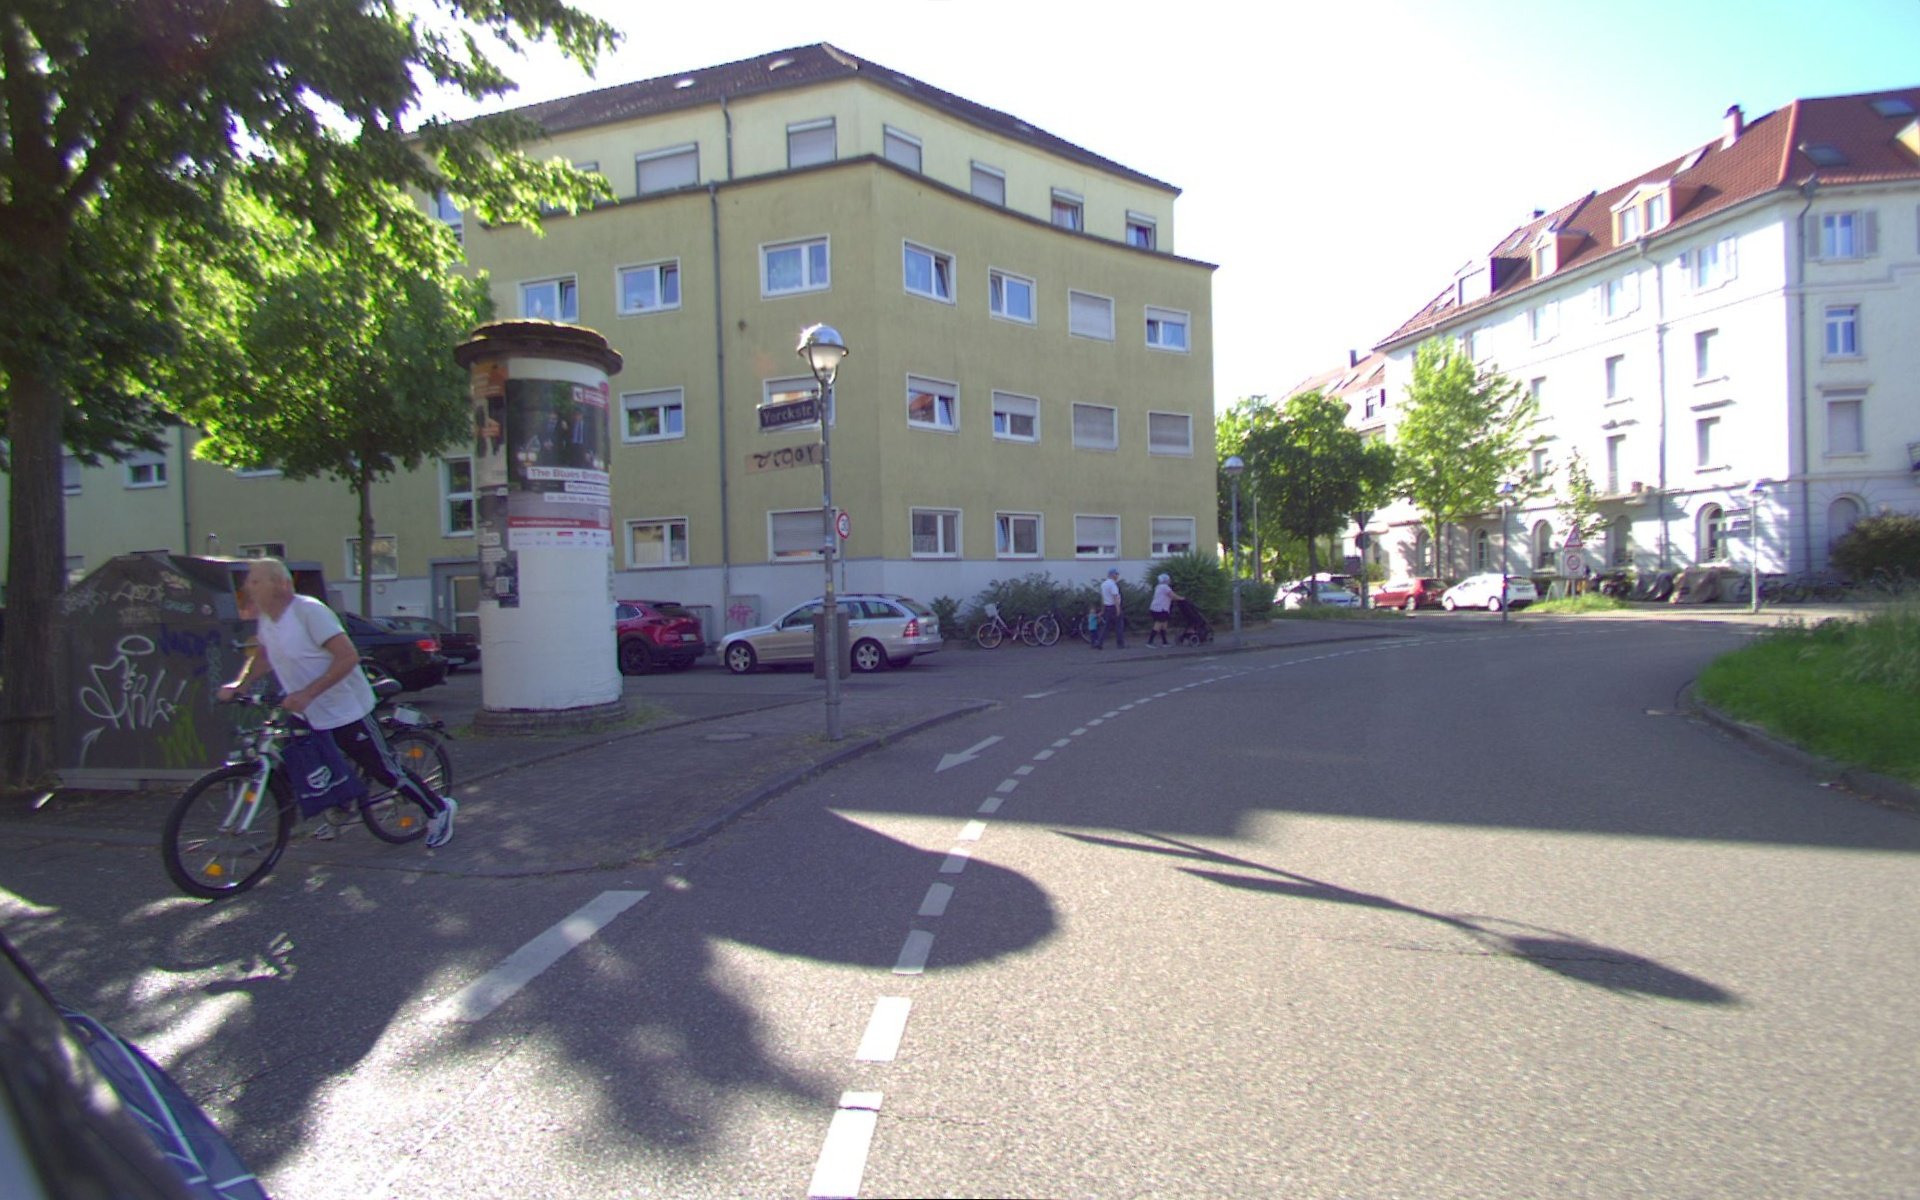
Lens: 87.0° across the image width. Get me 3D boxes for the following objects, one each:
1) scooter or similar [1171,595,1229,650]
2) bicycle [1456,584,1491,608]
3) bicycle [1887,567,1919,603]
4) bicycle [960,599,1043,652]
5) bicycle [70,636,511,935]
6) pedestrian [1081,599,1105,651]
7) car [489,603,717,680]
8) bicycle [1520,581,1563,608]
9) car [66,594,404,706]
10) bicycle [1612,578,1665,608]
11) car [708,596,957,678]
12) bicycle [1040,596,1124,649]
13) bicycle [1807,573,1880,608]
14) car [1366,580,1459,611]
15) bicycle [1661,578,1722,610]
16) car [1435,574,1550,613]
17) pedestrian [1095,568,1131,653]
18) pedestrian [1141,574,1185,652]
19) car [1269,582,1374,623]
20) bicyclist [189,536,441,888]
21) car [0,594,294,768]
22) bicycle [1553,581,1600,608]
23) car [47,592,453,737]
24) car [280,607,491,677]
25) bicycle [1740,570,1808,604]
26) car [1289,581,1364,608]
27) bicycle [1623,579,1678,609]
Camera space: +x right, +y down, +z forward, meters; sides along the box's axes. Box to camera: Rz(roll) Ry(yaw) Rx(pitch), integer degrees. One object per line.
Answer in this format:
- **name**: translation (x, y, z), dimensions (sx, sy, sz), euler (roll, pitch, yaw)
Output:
- **scooter or similar**: translation (5.021, 0.451, 21.195), dimensions (0.885, 1.030, 0.919), euler (-3, 4, -6)
- **bicycle**: translation (25.359, -0.186, 50.012), dimensions (0.562, 1.150, 1.803), euler (-2, 0, -8)
- **bicycle**: translation (30.701, -0.485, 32.153), dimensions (1.797, 1.132, 0.563), euler (0, 1, 37)
- **bicycle**: translation (0.930, 0.572, 22.567), dimensions (1.779, 1.116, 0.499), euler (-2, 0, 8)
- **bicycle**: translation (-3.434, 0.855, 5.430), dimensions (0.760, 1.207, 1.857), euler (-2, 0, 21)
- **pedestrian**: translation (2.825, 0.529, 21.496), dimensions (0.401, 1.047, 0.376), euler (-3, 3, -2)
- **car**: translation (-7.476, 0.866, 21.224), dimensions (4.351, 1.450, 1.725), euler (-2, 0, 18)
- **bicycle**: translation (26.149, -0.232, 45.540), dimensions (0.561, 1.150, 1.805), euler (-2, 0, -15)
- **car**: translation (-11.156, 0.694, 15.897), dimensions (1.750, 1.484, 3.966), euler (-2, 0, 25)
- **bicycle**: translation (27.159, -0.268, 40.562), dimensions (0.561, 1.132, 1.805), euler (-2, 0, -15)
- **car**: translation (-2.456, 0.705, 19.556), dimensions (4.452, 1.422, 1.723), euler (-2, 0, 18)
- **bicycle**: translation (2.751, 0.494, 22.853), dimensions (1.772, 1.116, 0.501), euler (-2, 0, -7)
- **bicycle**: translation (29.313, -0.305, 33.607), dimensions (1.798, 1.116, 0.493), euler (-2, 0, 40)
- **car**: translation (19.726, -0.178, 44.318), dimensions (1.770, 1.265, 3.728), euler (-2, 0, -13)
- **bicycle**: translation (26.807, -0.222, 37.114), dimensions (0.561, 1.132, 1.805), euler (-2, 0, -15)
- **car**: translation (20.817, -0.237, 39.747), dimensions (1.770, 1.423, 4.010), euler (-2, 0, -12)
- **pedestrian**: translation (3.191, 0.213, 21.146), dimensions (0.600, 1.705, 0.555), euler (-3, 3, -2)
- **pedestrian**: translation (4.218, 0.255, 21.030), dimensions (0.686, 1.535, 0.651), euler (-3, 4, -6)
- **car**: translation (13.921, 0.095, 39.234), dimensions (1.773, 1.422, 4.011), euler (-3, 0, -15)
- **bicyclist**: translation (-3.435, 0.547, 5.436), dimensions (0.760, 1.709, 0.806), euler (-2, 0, 22)
- **car**: translation (-8.832, 0.757, 9.769), dimensions (3.932, 1.484, 1.764), euler (-2, 0, -32)
- **bicycle**: translation (26.590, -0.233, 43.690), dimensions (0.561, 1.132, 1.805), euler (-2, 0, -15)
- **car**: translation (-8.745, 0.709, 12.826), dimensions (3.933, 1.484, 1.764), euler (-2, 0, -33)
- **car**: translation (-13.182, 0.962, 23.237), dimensions (4.351, 1.450, 1.725), euler (-2, 0, 18)
- **bicycle**: translation (28.113, -0.432, 34.979), dimensions (1.798, 1.116, 0.493), euler (-2, 0, 40)
- **car**: translation (18.399, -0.265, 50.954), dimensions (1.770, 1.265, 3.728), euler (-2, 0, -13)
- **bicycle**: translation (26.666, -0.224, 39.117), dimensions (0.561, 1.132, 1.805), euler (-2, 0, -15)
